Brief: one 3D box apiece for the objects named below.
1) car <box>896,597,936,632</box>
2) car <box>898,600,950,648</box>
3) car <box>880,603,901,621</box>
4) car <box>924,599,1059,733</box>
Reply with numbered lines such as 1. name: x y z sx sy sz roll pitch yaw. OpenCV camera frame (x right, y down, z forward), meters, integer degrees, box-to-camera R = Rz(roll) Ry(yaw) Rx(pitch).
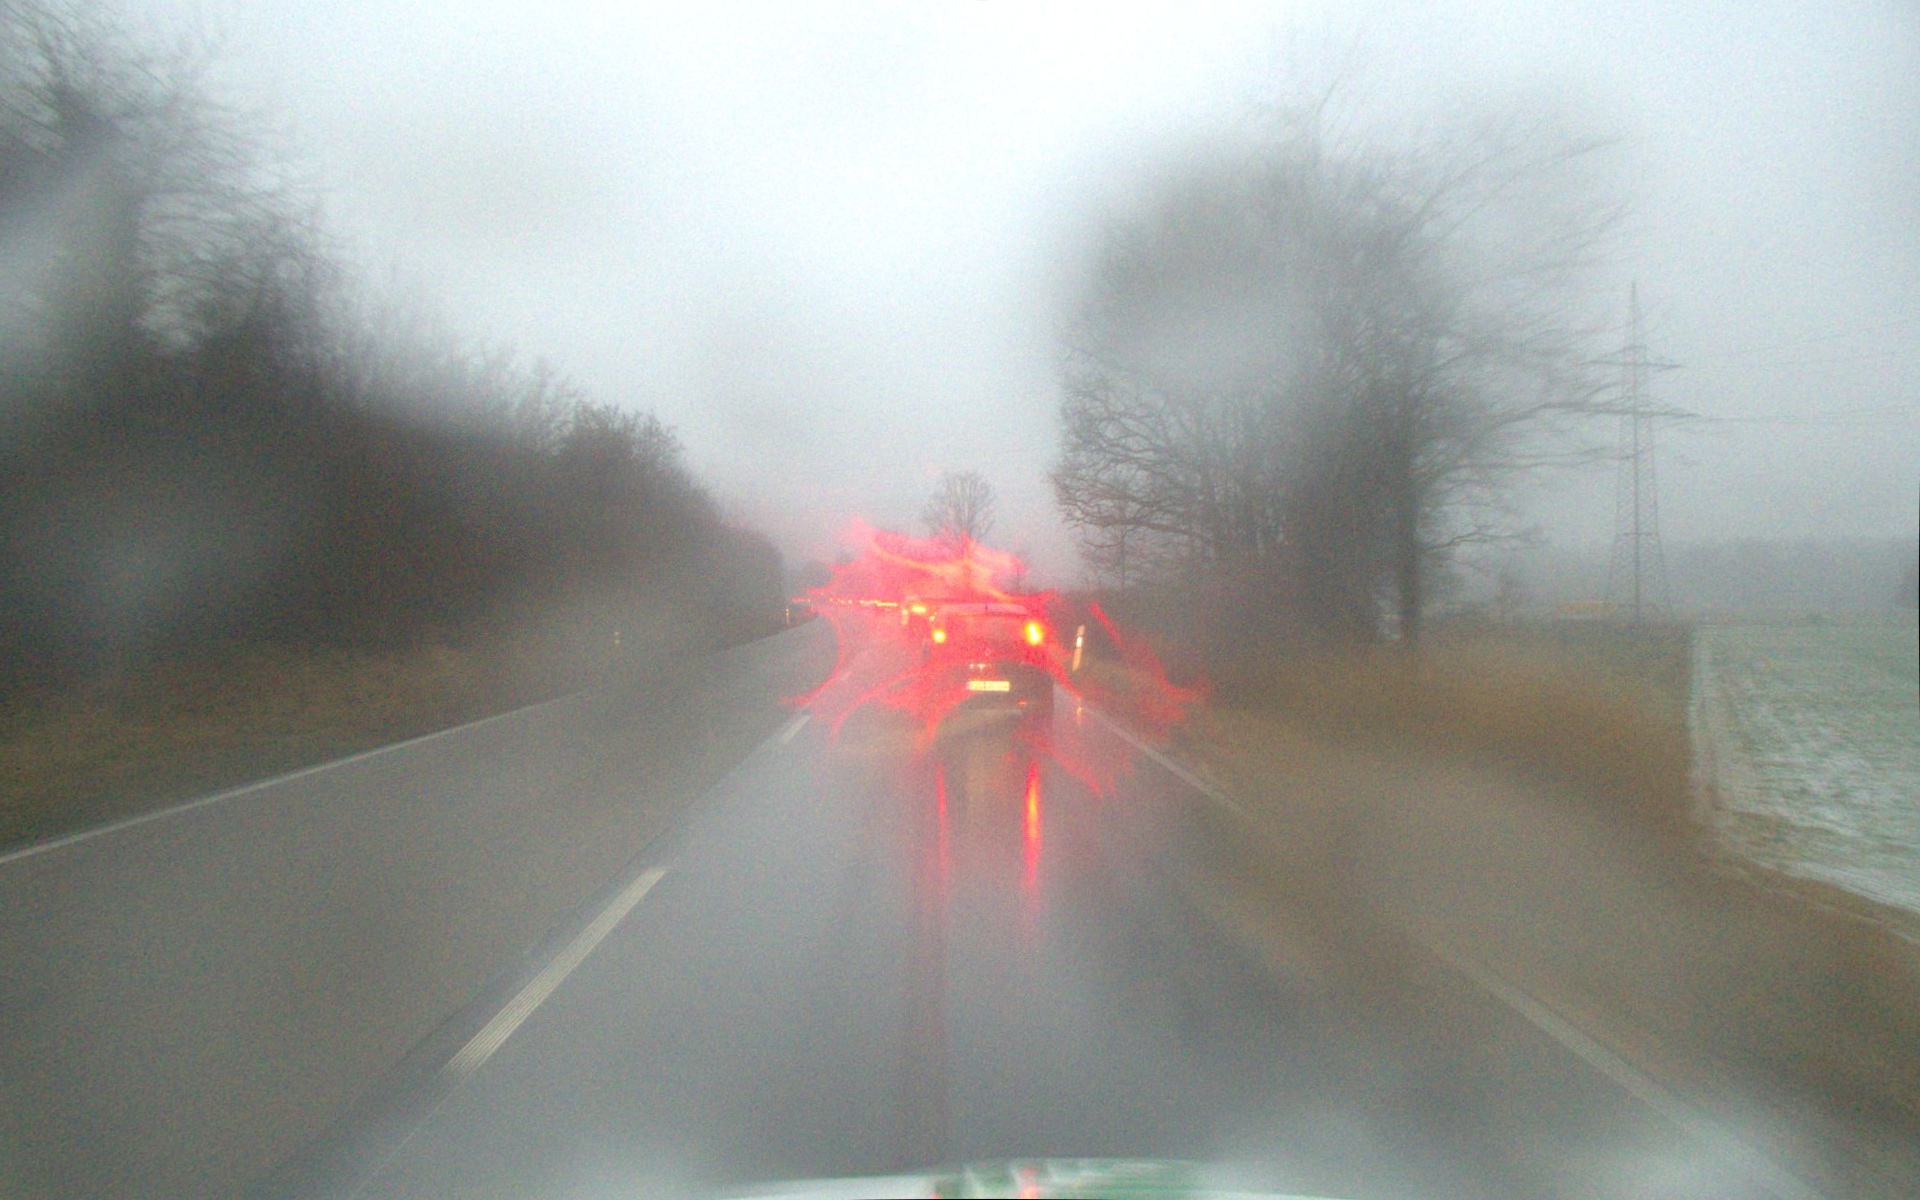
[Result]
1. car: -1.861 0.612 70.865 1.515 1.421 3.870 1 0 2
2. car: -1.090 0.729 51.509 1.515 1.421 3.869 1 0 0
3. car: -5.853 0.998 139.321 1.515 1.421 3.869 1 0 1
4. car: 0.455 0.774 21.403 1.569 1.549 3.870 1 0 2
